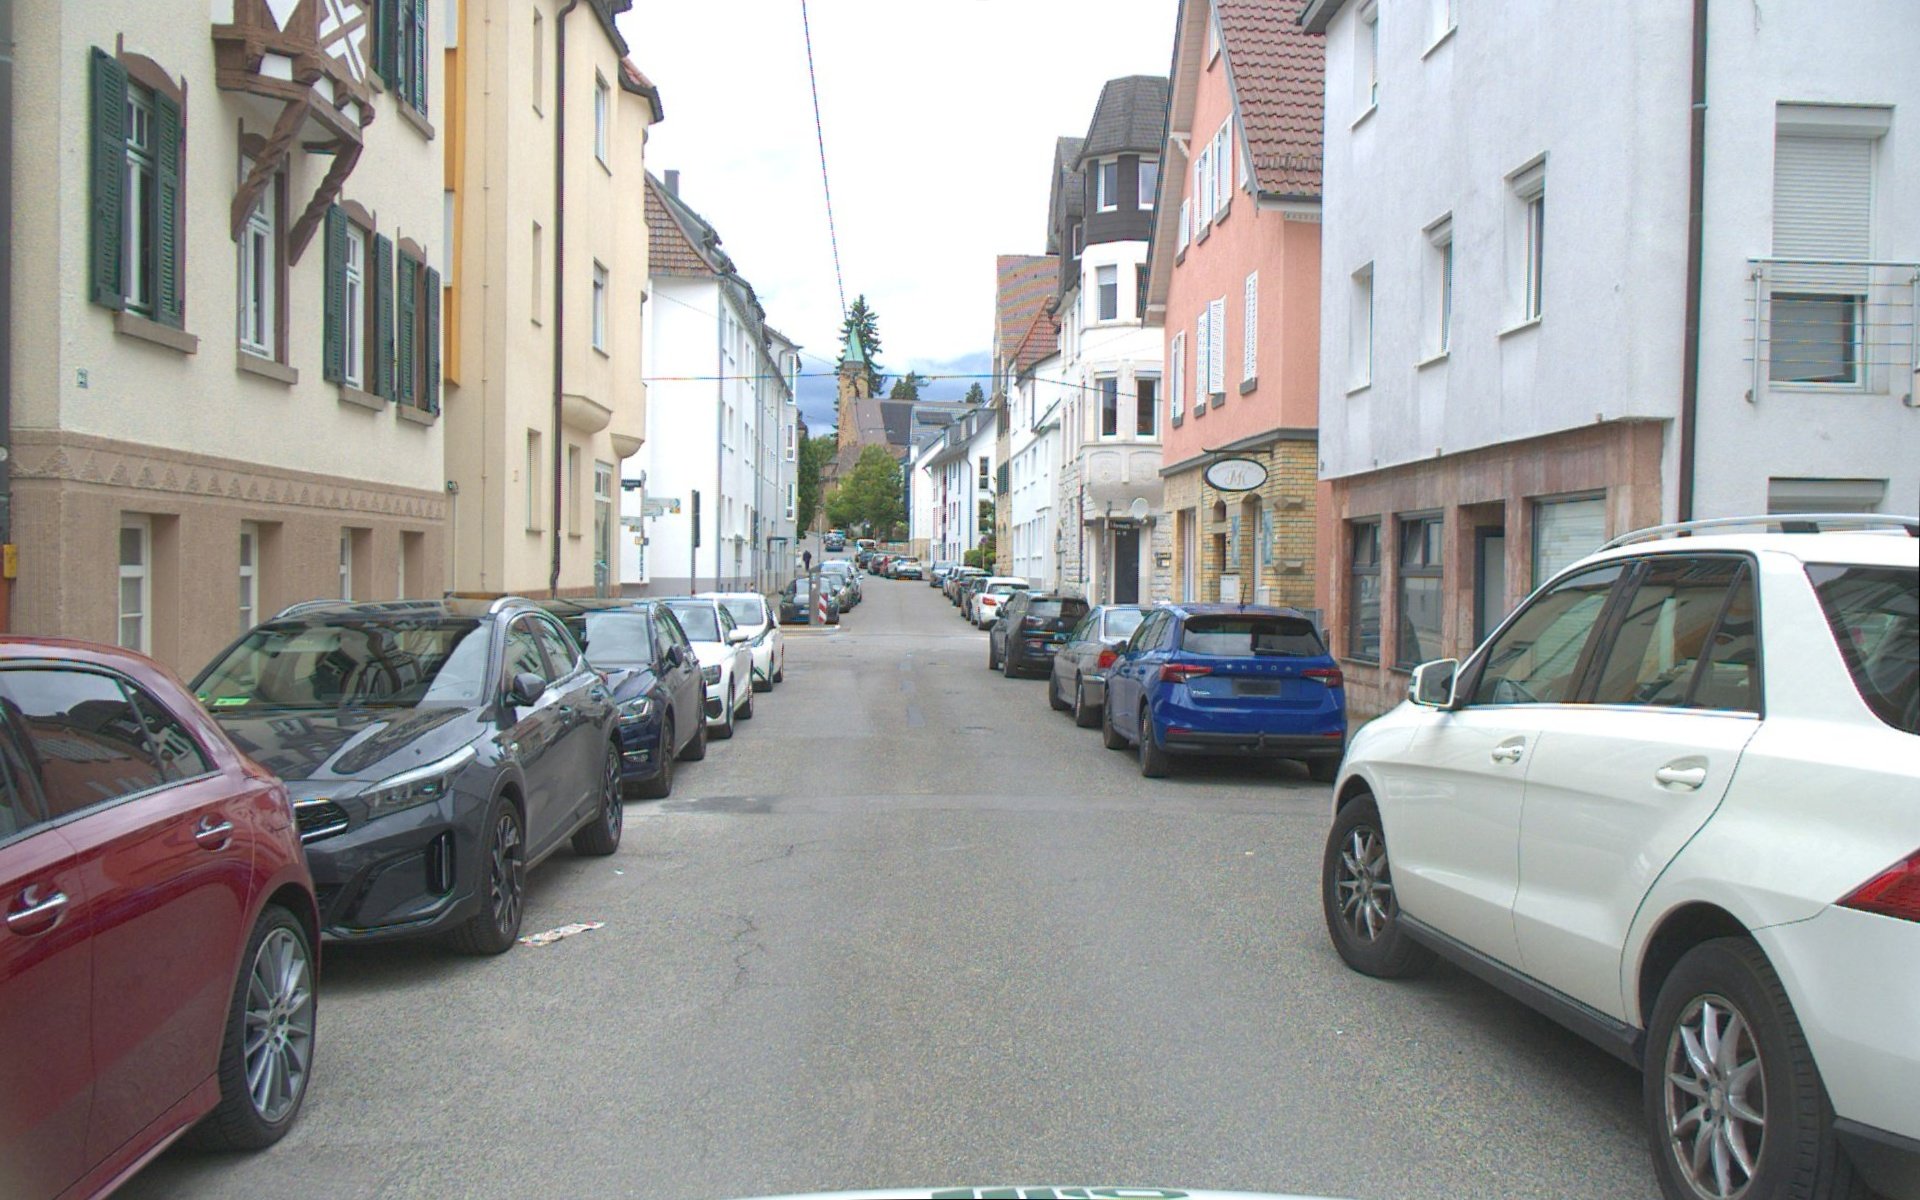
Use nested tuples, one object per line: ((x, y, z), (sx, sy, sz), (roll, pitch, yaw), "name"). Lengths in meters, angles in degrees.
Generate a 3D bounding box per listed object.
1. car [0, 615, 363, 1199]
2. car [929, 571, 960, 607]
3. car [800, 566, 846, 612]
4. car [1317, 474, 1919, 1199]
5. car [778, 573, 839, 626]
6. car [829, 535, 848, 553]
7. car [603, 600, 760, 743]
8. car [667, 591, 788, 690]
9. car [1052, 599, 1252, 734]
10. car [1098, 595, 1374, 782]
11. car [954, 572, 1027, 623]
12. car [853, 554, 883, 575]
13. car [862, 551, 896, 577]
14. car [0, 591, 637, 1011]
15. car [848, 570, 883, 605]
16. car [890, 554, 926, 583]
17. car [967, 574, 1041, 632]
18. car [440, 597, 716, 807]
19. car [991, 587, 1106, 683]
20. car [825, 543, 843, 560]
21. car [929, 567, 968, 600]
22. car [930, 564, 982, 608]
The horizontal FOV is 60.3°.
((-2.627, 0.781, 2.994), (1.733, 1.442, 4.169), (-1, 0, -3), "car")
((-0.843, -0.579, 90.241), (1.547, 1.790, 3.209), (2, -1, -2), "car")
((-4.981, -0.412, 60.356), (1.509, 1.541, 3.376), (3, 1, -3), "car")
((2.654, 0.631, 5.129), (1.895, 1.742, 4.374), (1, 1, -3), "car")
((-4.677, -0.051, 51.333), (1.641, 1.490, 3.998), (3, 1, -3), "car")
((-13.770, -6.325, 187.198), (1.787, 1.956, 3.744), (3, 2, -8), "car")
((-2.996, 0.709, 18.332), (1.257, 1.382, 3.803), (0, 1, -3), "car")
((-3.585, 0.595, 25.962), (1.554, 1.447, 3.399), (0, 0, -2), "car")
((2.221, 0.732, 20.173), (1.714, 1.415, 4.029), (2, 0, -3), "car")
((2.372, 0.708, 15.128), (1.739, 1.467, 3.780), (1, 0, -2), "car")
((0.992, -0.095, 56.324), (1.917, 1.602, 3.995), (2, 0, -7), "car")
((-7.600, -2.937, 136.688), (1.856, 1.632, 3.705), (3, 1, -11), "car")
((-5.890, -2.643, 119.891), (1.856, 1.674, 3.964), (3, 2, -11), "car")
((-2.807, 0.746, 8.195), (1.733, 1.521, 3.980), (-1, 0, -2), "car")
((-4.381, -0.556, 76.577), (1.509, 1.364, 3.282), (3, -3, -3), "car")
((-3.442, -2.093, 109.114), (1.728, 1.695, 3.990), (3, 1, -11), "car")
((1.327, 0.060, 51.153), (1.732, 1.552, 3.898), (2, 2, -7), "car")
((-2.968, 0.714, 13.568), (1.575, 1.449, 3.851), (0, 0, -3), "car")
((1.595, 0.603, 31.023), (1.679, 1.576, 3.800), (3, 1, -4), "car")
((-13.237, -5.090, 173.505), (1.714, 1.713, 3.594), (3, 1, -7), "car")
((-0.528, -0.727, 72.026), (1.381, 1.328, 2.899), (2, 2, -6), "car")
((-0.188, -0.590, 66.659), (1.694, 1.601, 3.830), (2, 2, -6), "car")
